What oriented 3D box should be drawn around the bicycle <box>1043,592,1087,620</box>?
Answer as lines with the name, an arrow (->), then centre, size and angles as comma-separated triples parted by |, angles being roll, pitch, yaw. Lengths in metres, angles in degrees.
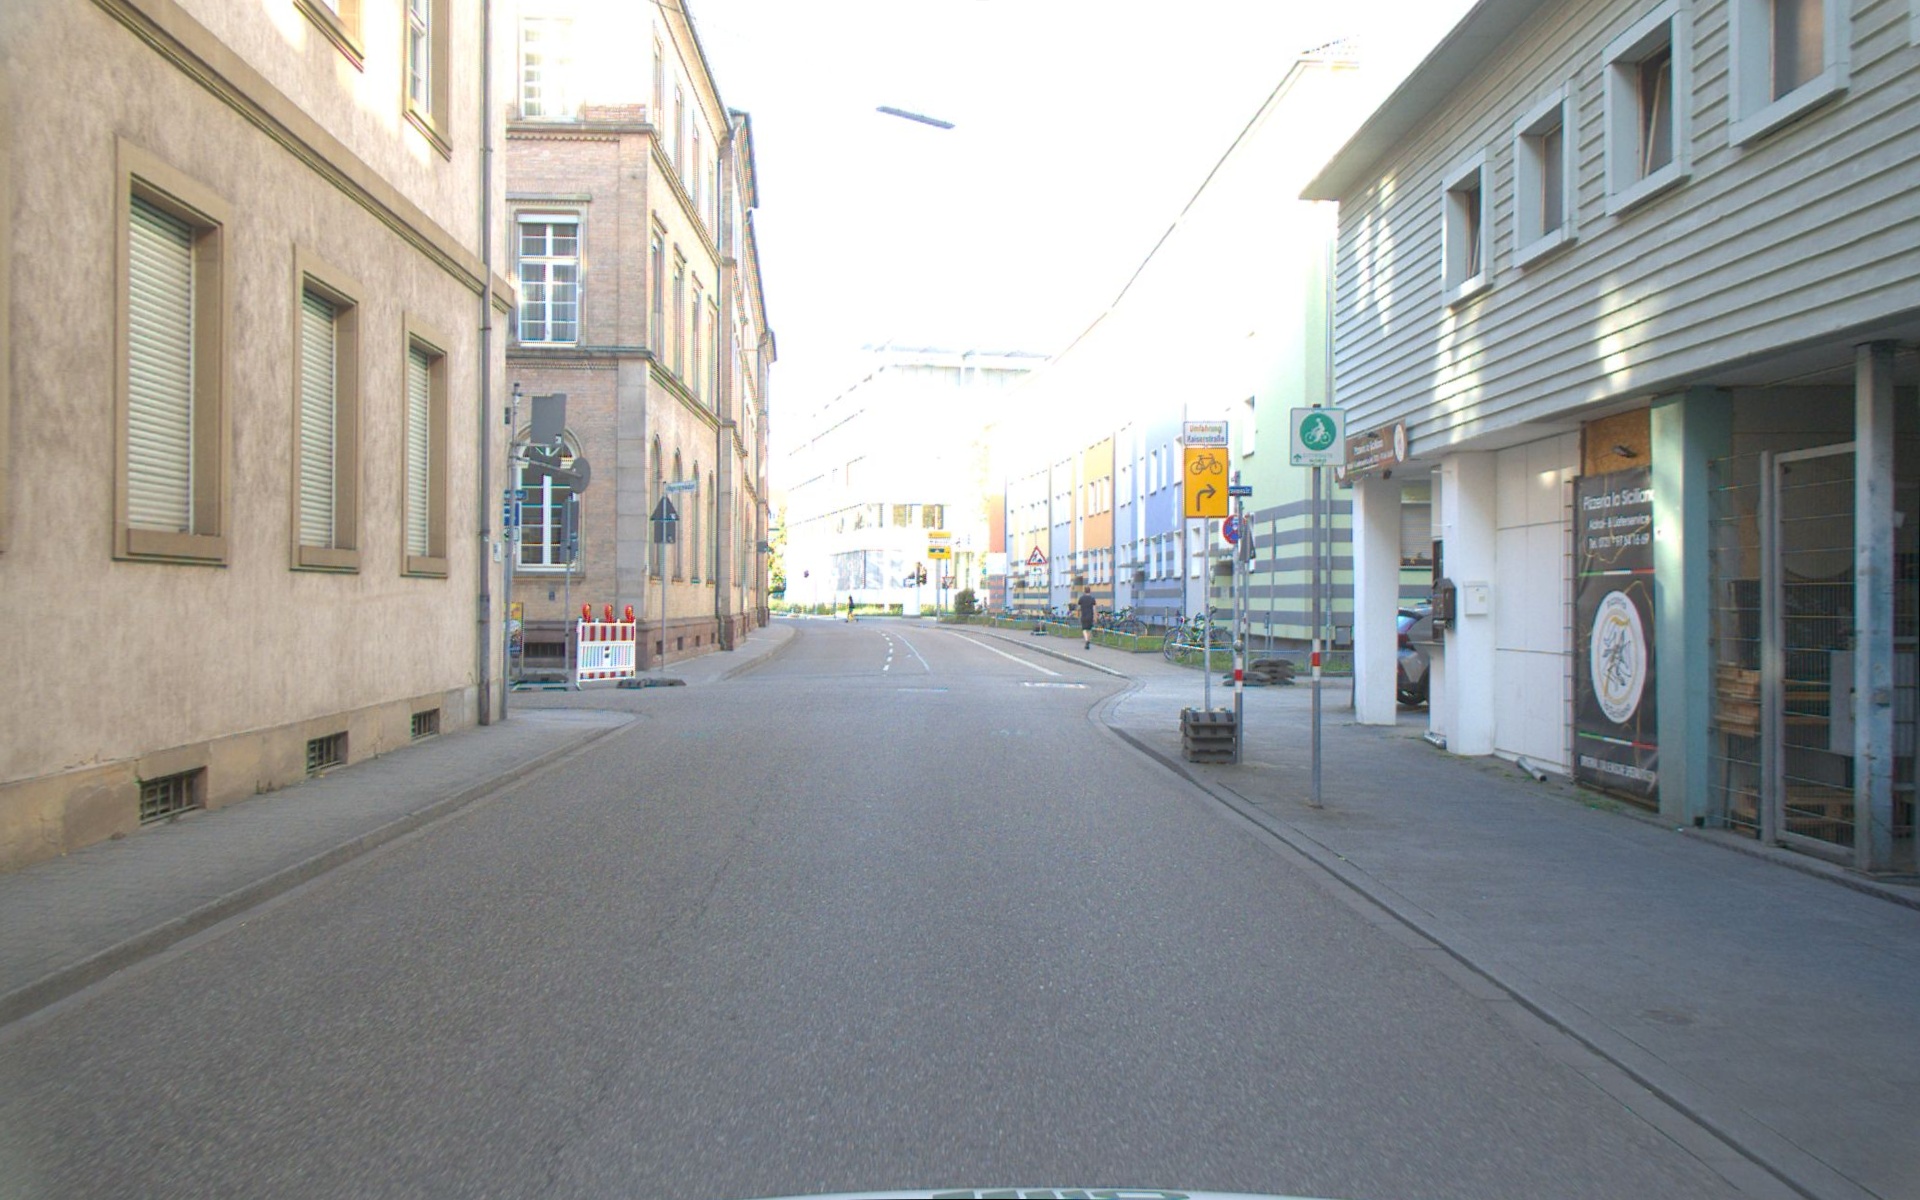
bicycle -> 4.421, 0.250, 69.700 | 1.775, 1.157, 0.551 | -1, 0, -5

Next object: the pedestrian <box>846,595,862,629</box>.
pedestrian -> -6.536, 0.731, 101.579 | 0.879, 2.049, 0.751 | -1, 0, -11

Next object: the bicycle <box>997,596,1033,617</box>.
bicycle -> 2.791, 0.312, 83.783 | 1.721, 1.021, 0.612 | -2, 0, -9

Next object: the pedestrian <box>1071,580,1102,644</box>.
pedestrian -> 3.645, 0.334, 47.690 | 0.683, 1.790, 1.188 | -3, 1, -3

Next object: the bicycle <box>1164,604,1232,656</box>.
bicycle -> 5.829, 0.727, 40.494 | 1.612, 1.161, 0.282 | -4, 1, -12

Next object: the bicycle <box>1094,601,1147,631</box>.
bicycle -> 5.360, 0.520, 55.213 | 1.713, 0.963, 0.335 | -1, 0, -4

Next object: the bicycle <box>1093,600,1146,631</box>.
bicycle -> 5.275, 0.509, 54.687 | 1.713, 0.963, 0.325 | -1, 0, -3

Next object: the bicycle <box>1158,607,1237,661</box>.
bicycle -> 5.616, 0.800, 39.085 | 1.714, 1.161, 0.551 | -3, 1, -4

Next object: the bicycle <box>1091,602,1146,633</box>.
bicycle -> 5.164, 0.552, 53.843 | 1.713, 0.963, 0.551 | -1, 0, -4

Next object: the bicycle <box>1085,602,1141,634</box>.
bicycle -> 4.897, 0.570, 52.967 | 1.713, 0.963, 0.551 | -1, 0, -4

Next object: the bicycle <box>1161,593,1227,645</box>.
bicycle -> 5.773, 0.471, 40.751 | 1.574, 1.161, 0.237 | -4, 1, -12

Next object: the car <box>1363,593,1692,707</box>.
car -> 7.937, 0.666, 23.377 | 3.997, 1.508, 1.864 | 0, 0, -3
